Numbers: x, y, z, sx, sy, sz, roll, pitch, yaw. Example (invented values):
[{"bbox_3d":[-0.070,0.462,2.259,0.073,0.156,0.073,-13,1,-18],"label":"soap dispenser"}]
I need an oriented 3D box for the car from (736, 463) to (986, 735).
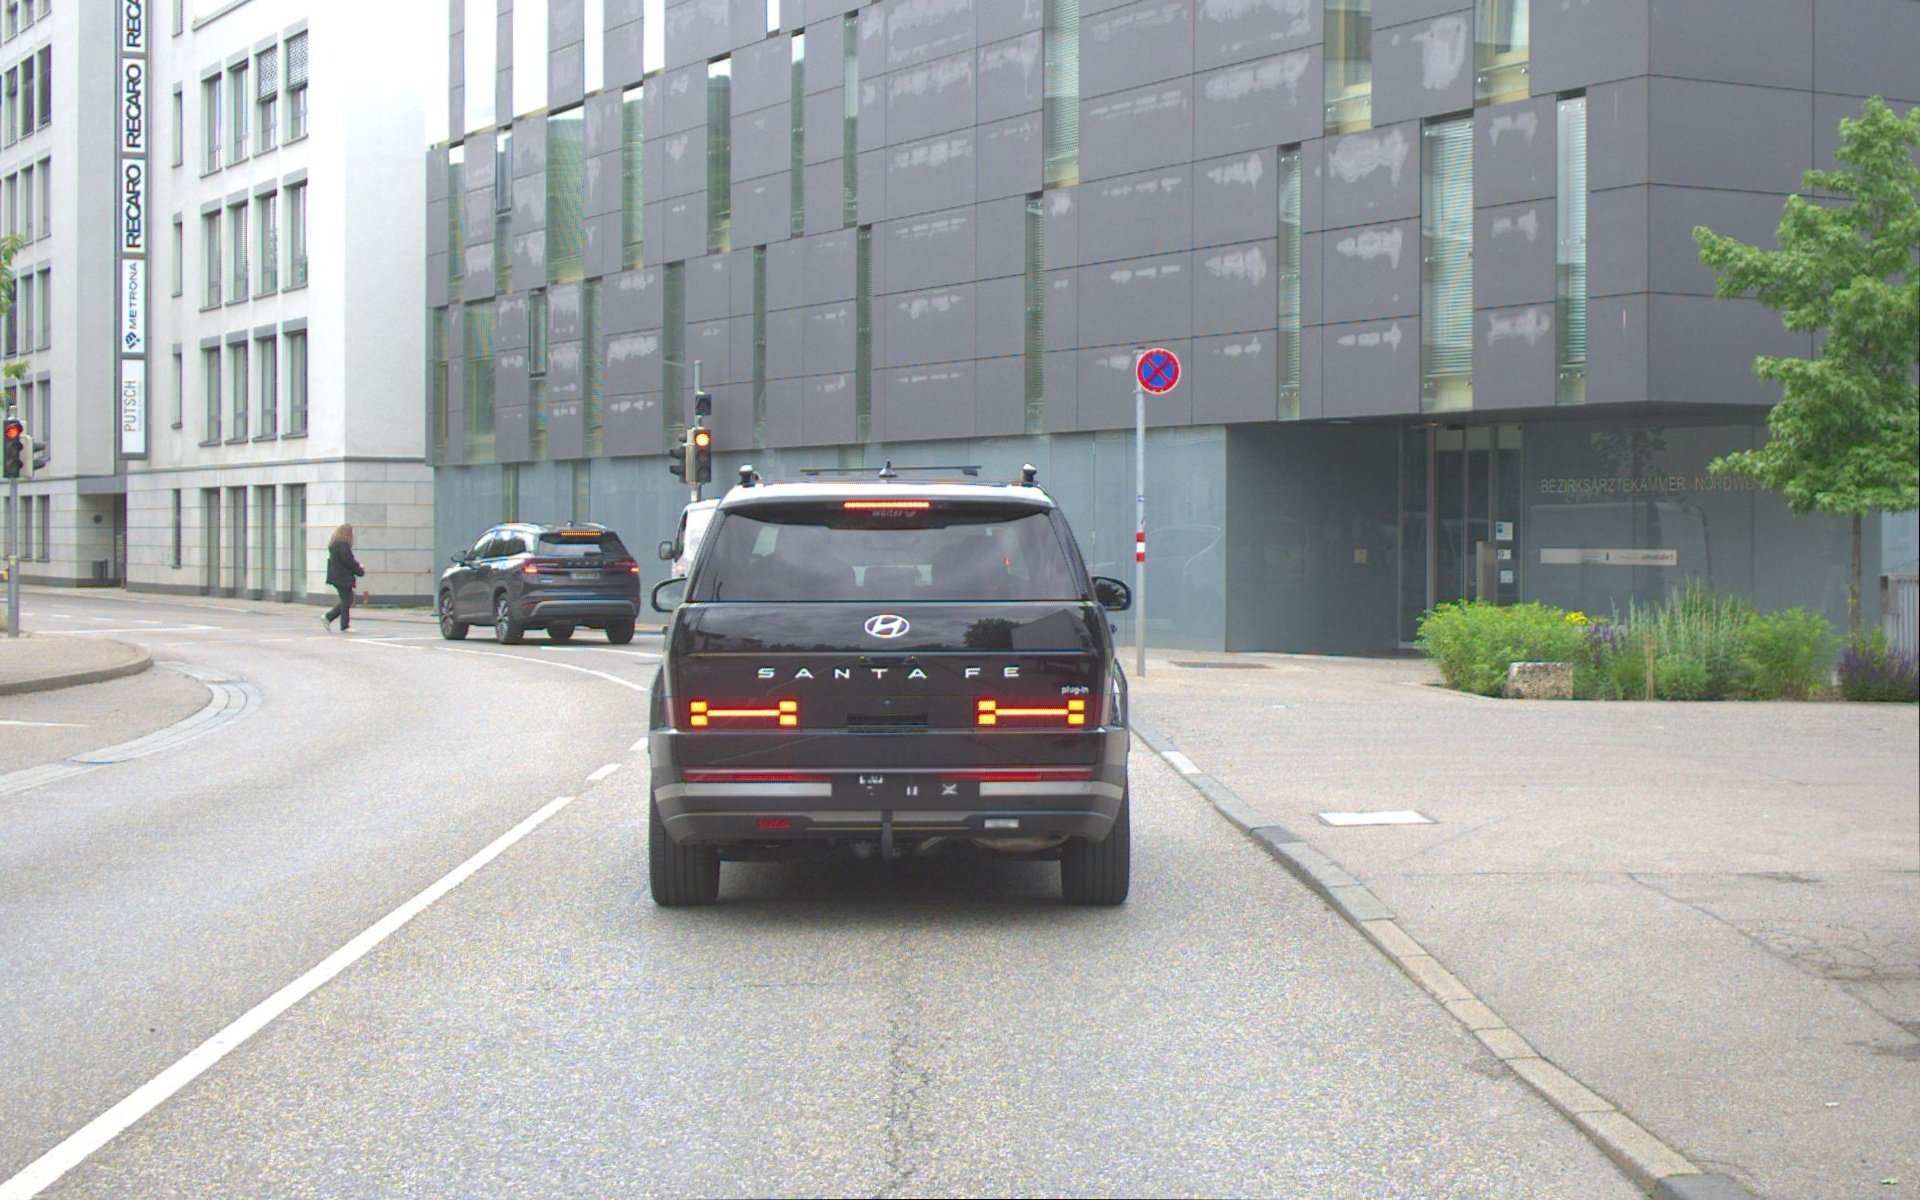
[{"bbox_3d":[-0.880,-0.065,27.865,1.855,2.026,4.438,0,1,-4],"label":"car"}]

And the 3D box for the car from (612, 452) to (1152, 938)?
[{"bbox_3d":[-0.412,0.306,14.586,1.915,1.719,4.171,2,1,-4],"label":"car"}]

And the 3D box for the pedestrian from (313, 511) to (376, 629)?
[{"bbox_3d":[-9.475,-0.467,52.914,0.938,1.794,0.591,0,1,-12],"label":"pedestrian"}]

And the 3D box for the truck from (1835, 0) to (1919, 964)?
[{"bbox_3d":[4.432,-0.499,8.476,2.573,3.513,7.811,0,1,0],"label":"truck"}]

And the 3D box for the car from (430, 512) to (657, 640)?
[{"bbox_3d":[-5.860,-0.337,47.950,1.847,1.671,4.376,-1,1,-25],"label":"car"}]
